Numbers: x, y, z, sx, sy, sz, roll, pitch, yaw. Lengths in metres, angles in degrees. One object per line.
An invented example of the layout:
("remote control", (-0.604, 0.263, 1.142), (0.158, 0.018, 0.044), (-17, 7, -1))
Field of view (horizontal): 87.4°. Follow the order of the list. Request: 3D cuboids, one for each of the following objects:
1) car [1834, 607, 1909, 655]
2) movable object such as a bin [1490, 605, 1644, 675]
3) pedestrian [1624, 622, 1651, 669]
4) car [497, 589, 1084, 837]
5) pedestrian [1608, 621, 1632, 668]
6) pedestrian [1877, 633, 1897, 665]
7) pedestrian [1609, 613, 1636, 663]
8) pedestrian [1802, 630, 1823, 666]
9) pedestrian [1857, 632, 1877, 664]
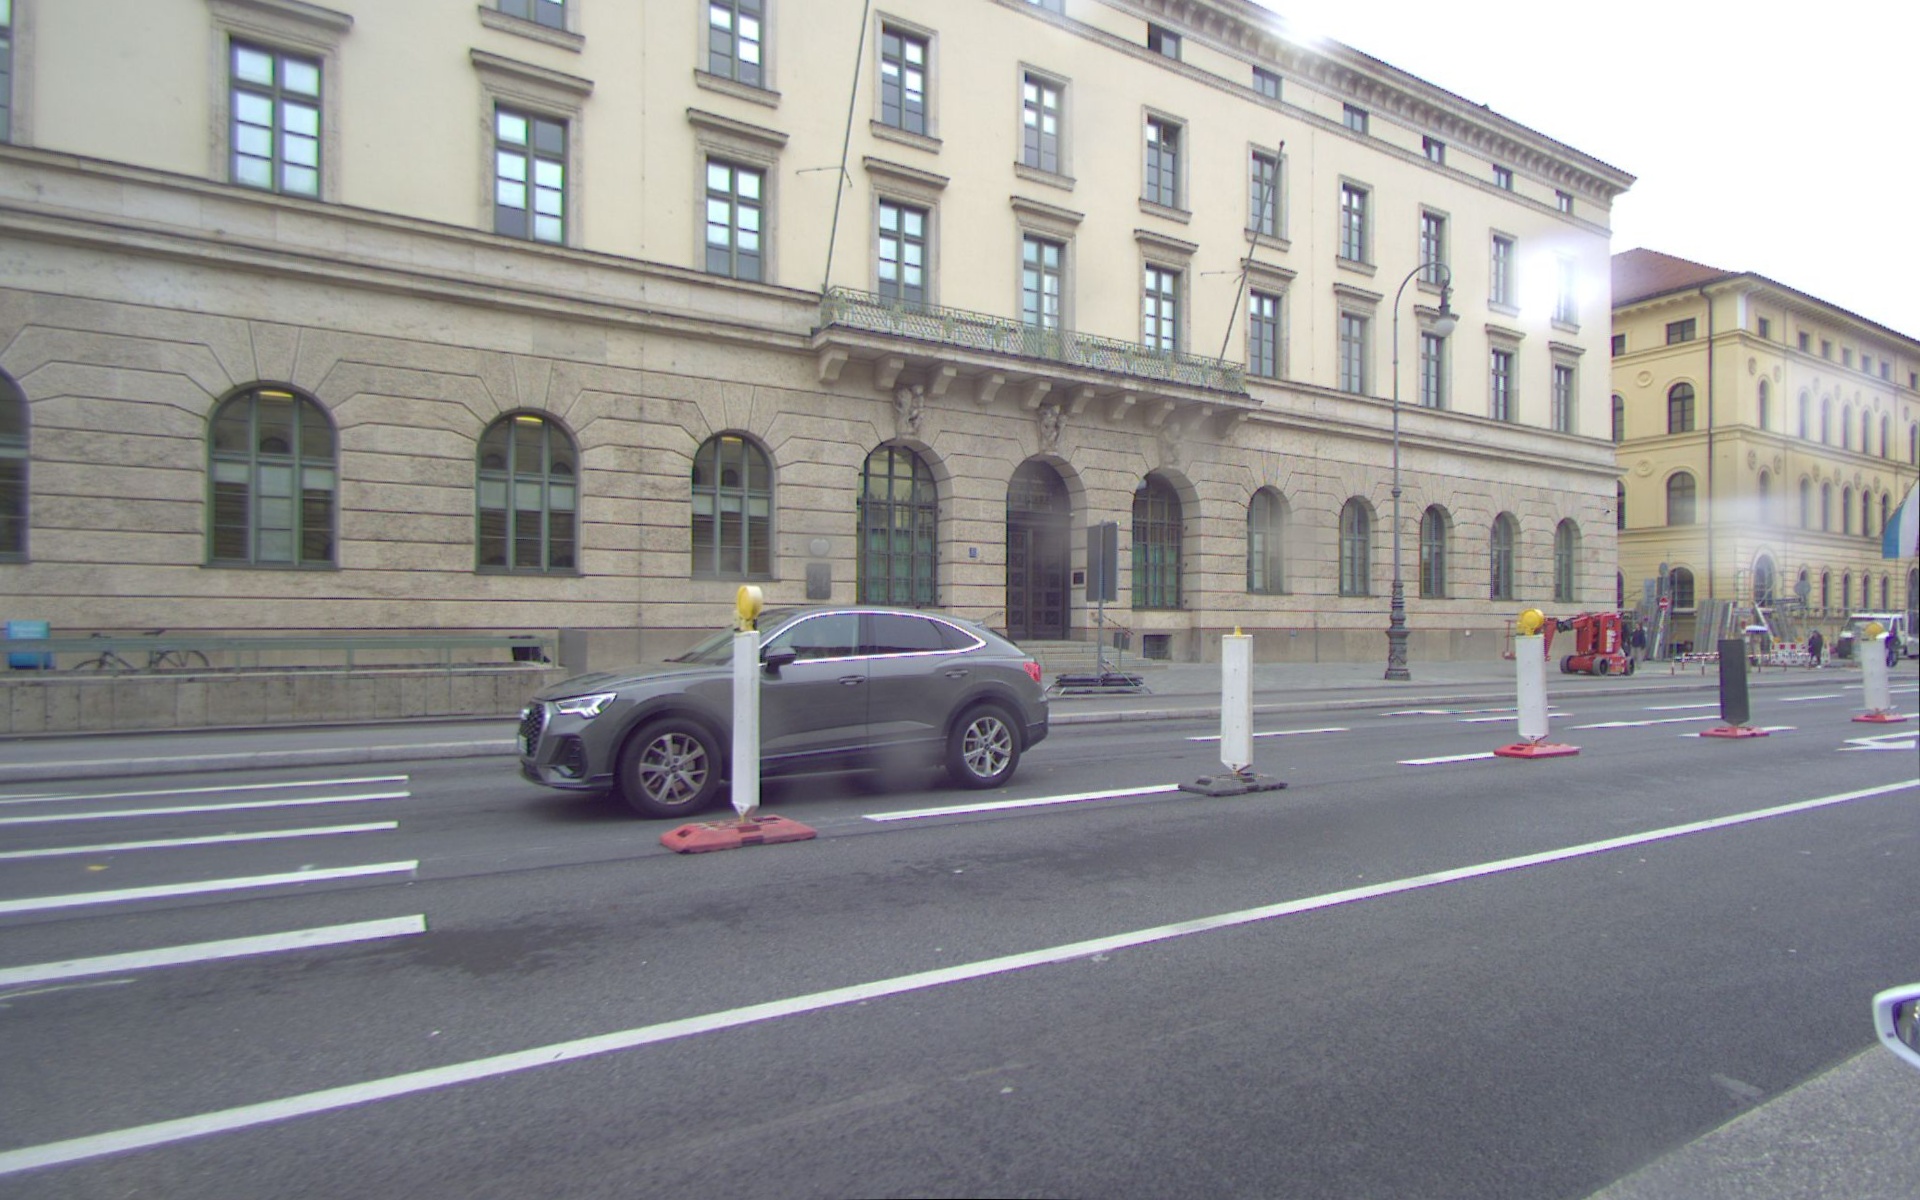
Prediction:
("car", (46.330, 1.583, 51.024), (3.953, 2.318, 1.730), (2, -2, -30))
("movable object such as a bin", (19.121, 1.279, 31.536), (5.906, 2.040, 1.504), (2, -2, -30))
("pedestrian", (24.643, 1.658, 36.548), (0.611, 1.674, 0.608), (2, -2, -34))
("car", (-1.298, 0.807, 8.406), (4.524, 1.587, 1.777), (1, -3, -31))
("pedestrian", (24.341, 1.643, 37.058), (0.611, 1.698, 0.549), (2, -2, -34))
("pedestrian", (41.550, 2.182, 45.007), (0.611, 1.429, 0.536), (2, -2, -34))
("pedestrian", (26.104, 1.481, 39.566), (0.645, 1.956, 0.675), (2, -2, -34))
("pedestrian", (37.092, 2.076, 43.695), (0.611, 1.550, 0.549), (2, -2, -34))
("pedestrian", (41.097, 2.166, 45.527), (0.611, 1.425, 0.536), (2, -2, -34))
